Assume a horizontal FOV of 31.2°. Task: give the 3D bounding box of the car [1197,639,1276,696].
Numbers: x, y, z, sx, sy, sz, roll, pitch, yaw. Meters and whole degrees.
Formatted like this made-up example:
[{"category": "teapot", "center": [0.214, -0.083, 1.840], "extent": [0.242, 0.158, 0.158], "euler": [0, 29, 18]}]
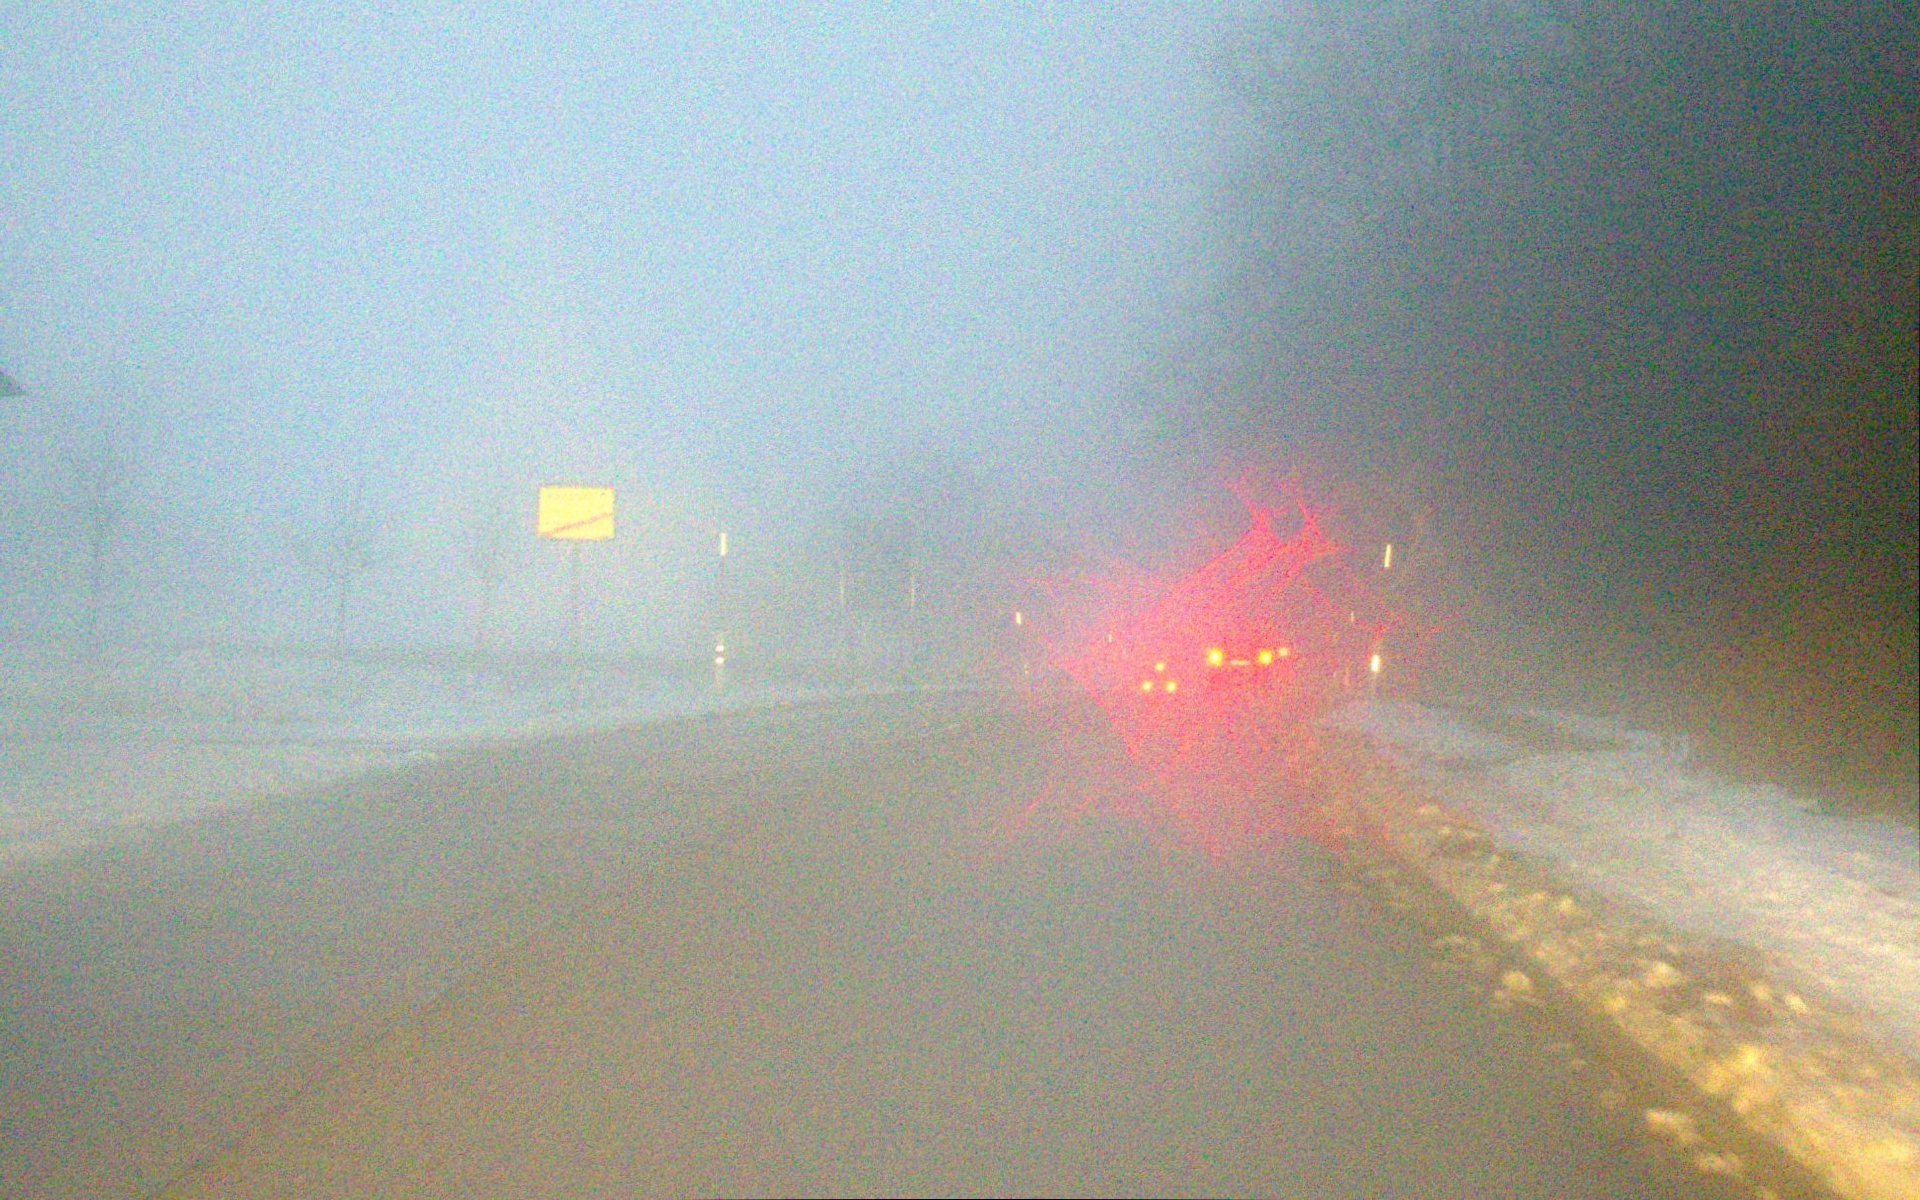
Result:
[{"category": "car", "center": [7.227, 1.755, 90.030], "extent": [1.994, 1.415, 3.999], "euler": [0, 0, 4]}]
